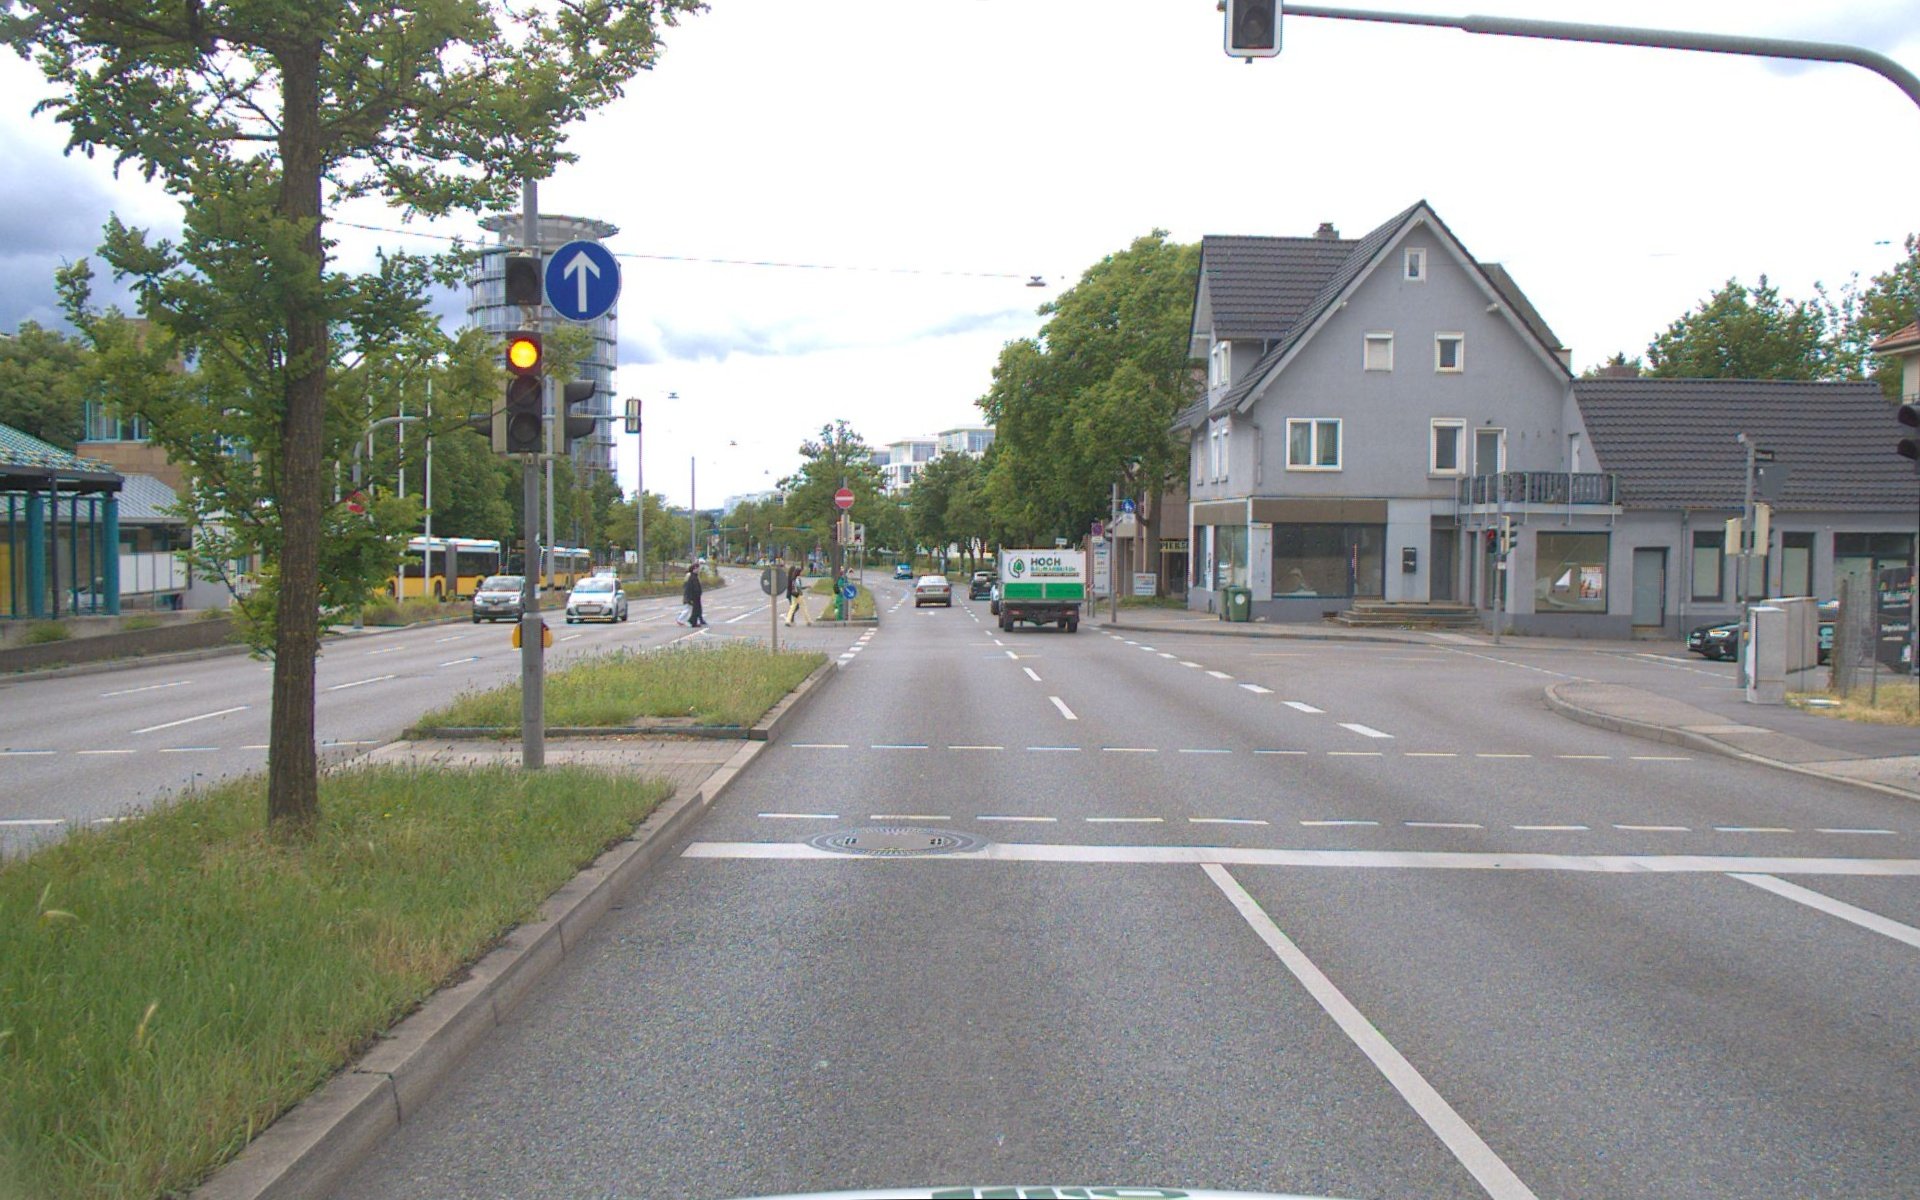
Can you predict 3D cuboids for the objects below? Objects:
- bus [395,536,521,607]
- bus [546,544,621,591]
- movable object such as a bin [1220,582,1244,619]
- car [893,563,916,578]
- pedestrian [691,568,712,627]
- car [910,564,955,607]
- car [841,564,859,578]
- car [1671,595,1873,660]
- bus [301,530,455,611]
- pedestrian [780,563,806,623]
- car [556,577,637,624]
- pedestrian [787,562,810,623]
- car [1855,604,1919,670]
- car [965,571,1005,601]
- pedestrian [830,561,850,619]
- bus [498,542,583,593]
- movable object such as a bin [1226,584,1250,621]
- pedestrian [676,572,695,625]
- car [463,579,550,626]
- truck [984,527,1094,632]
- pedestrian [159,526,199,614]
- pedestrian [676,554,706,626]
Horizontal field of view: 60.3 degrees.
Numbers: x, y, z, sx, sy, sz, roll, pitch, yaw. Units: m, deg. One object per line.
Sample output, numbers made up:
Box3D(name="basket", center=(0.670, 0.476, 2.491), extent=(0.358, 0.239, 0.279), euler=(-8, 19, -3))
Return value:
Box3D(name="bus", center=(-26.177, -1.455, 86.900), extent=(2.772, 3.490, 10.738), euler=(0, 1, 3))
Box3D(name="bus", center=(-29.298, -2.500, 129.199), extent=(2.772, 3.490, 10.738), euler=(0, 1, 3))
Box3D(name="movable object such as a bin", center=(8.128, 0.015, 49.409), extent=(0.603, 1.061, 0.589), euler=(1, 0, 1))
Box3D(name="car", center=(-5.999, -3.129, 178.068), extent=(1.957, 1.579, 3.991), euler=(0, 1, -9))
Box3D(name="pedestrian", center=(-7.653, -0.086, 49.013), extent=(0.601, 1.746, 0.545), euler=(0, 0, -8))
Box3D(name="car", center=(-1.247, -0.687, 74.607), extent=(1.953, 1.862, 4.000), euler=(0, 1, -1))
Box3D(name="car", center=(-12.016, -3.167, 180.781), extent=(1.954, 1.545, 3.997), euler=(0, 1, -4))
Box3D(name="car", center=(19.633, 0.660, 40.114), extent=(4.006, 1.395, 1.799), euler=(2, 0, -2))
Box3D(name="bus", center=(-26.759, -1.345, 76.746), extent=(2.772, 3.490, 10.738), euler=(0, 1, 3))
Box3D(name="pedestrian", center=(-4.911, -0.216, 48.507), extent=(0.731, 1.746, 0.582), euler=(0, 0, -8))
Box3D(name="car", center=(-12.138, -0.011, 55.487), extent=(1.953, 1.512, 3.999), euler=(0, 1, -2))
Box3D(name="pedestrian", center=(-4.682, -0.229, 47.925), extent=(0.641, 1.746, 0.451), euler=(0, 0, -8))
Box3D(name="car", center=(22.358, 0.858, 36.722), extent=(4.006, 1.395, 1.799), euler=(2, 0, -2))
Box3D(name="car", center=(1.319, -0.767, 88.899), extent=(1.953, 1.579, 4.000), euler=(1, 1, -1))
Box3D(name="pedestrian", center=(-3.619, -0.303, 49.919), extent=(0.572, 1.746, 0.545), euler=(0, 0, -8))
Box3D(name="bus", center=(-29.910, -2.276, 118.453), extent=(2.772, 3.490, 10.738), euler=(0, 1, 3))
Box3D(name="movable object such as a bin", center=(8.174, 0.068, 48.660), extent=(0.592, 1.078, 0.589), euler=(1, 0, 1))
Box3D(name="pedestrian", center=(-8.005, -0.042, 48.228), extent=(0.533, 1.522, 0.486), euler=(0, 0, -9))
Box3D(name="car", center=(-15.262, 0.063, 55.830), extent=(1.953, 1.512, 3.999), euler=(0, 1, -2))
Box3D(name="truck", center=(2.069, -0.639, 45.765), extent=(2.421, 2.656, 6.546), euler=(1, 2, -2))
Box3D(name="pedestrian", center=(-18.309, -0.699, 38.781), extent=(0.668, 2.049, 0.645), euler=(0, 0, -5))
Box3D(name="pedestrian", center=(-7.717, -0.283, 47.450), extent=(0.814, 2.049, 0.545), euler=(0, 0, -8))
